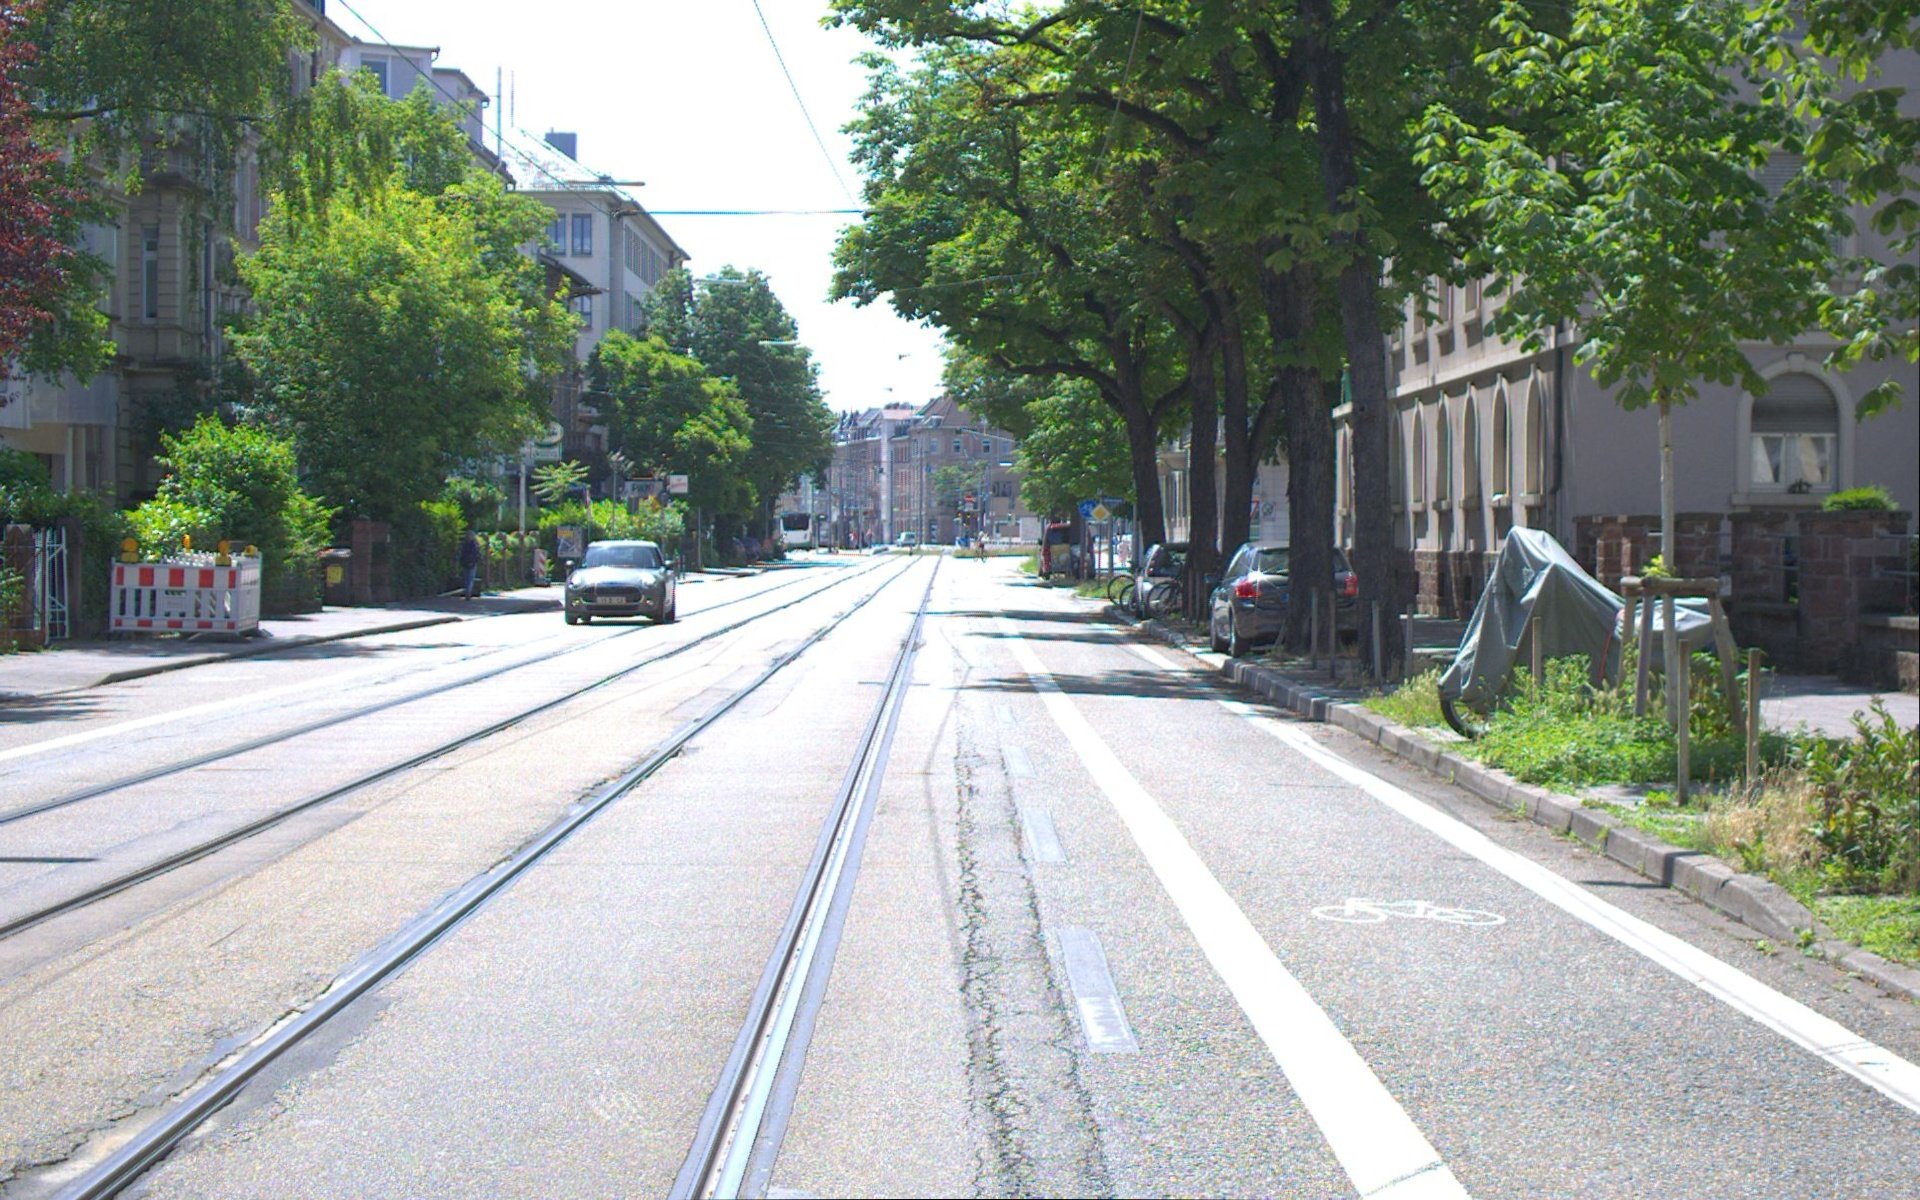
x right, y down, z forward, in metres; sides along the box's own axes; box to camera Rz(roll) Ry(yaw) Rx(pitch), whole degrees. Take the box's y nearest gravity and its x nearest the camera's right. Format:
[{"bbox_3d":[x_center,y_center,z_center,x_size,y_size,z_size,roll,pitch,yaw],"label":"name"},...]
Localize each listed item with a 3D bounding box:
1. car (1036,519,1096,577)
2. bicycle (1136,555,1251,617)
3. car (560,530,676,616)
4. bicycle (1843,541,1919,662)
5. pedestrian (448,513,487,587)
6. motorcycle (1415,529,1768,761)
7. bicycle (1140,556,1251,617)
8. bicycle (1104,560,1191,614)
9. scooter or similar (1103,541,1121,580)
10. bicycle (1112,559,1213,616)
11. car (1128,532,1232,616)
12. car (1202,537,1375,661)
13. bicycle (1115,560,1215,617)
[{"bbox_3d":[3.770,-1.876,122.808,1.993,2.028,4.697,0,2,0],"label":"car"},{"bbox_3d":[4.076,-0.247,60.017,1.964,1.059,0.598,0,1,7],"label":"bicycle"},{"bbox_3d":[-5.964,-0.495,60.251,1.686,1.449,3.749,0,1,0],"label":"car"},{"bbox_3d":[9.425,-0.001,34.991,0.459,1.187,1.564,-1,1,0],"label":"bicycle"},{"bbox_3d":[-10.890,-1.098,76.002,0.751,1.623,0.833,1,1,-1],"label":"pedestrian"},{"bbox_3d":[4.409,0.281,24.147,2.319,1.535,0.867,2,2,43],"label":"motorcycle"},{"bbox_3d":[4.094,-0.235,59.659,1.890,1.048,0.538,0,1,7],"label":"bicycle"},{"bbox_3d":[4.026,-0.278,73.762,1.816,1.109,0.493,-1,0,0],"label":"bicycle"},{"bbox_3d":[4.897,-1.277,110.656,0.501,1.225,1.573,1,1,0],"label":"scooter or similar"},{"bbox_3d":[4.086,-0.247,69.503,2.010,1.109,0.640,-1,0,2],"label":"bicycle"},{"bbox_3d":[4.083,-0.491,64.297,1.621,1.443,3.810,-2,1,0],"label":"car"},{"bbox_3d":[4.305,-0.056,45.628,1.774,1.496,4.306,-1,1,-1],"label":"car"},{"bbox_3d":[4.097,-0.237,68.828,1.963,1.109,0.598,-1,0,2],"label":"bicycle"}]
